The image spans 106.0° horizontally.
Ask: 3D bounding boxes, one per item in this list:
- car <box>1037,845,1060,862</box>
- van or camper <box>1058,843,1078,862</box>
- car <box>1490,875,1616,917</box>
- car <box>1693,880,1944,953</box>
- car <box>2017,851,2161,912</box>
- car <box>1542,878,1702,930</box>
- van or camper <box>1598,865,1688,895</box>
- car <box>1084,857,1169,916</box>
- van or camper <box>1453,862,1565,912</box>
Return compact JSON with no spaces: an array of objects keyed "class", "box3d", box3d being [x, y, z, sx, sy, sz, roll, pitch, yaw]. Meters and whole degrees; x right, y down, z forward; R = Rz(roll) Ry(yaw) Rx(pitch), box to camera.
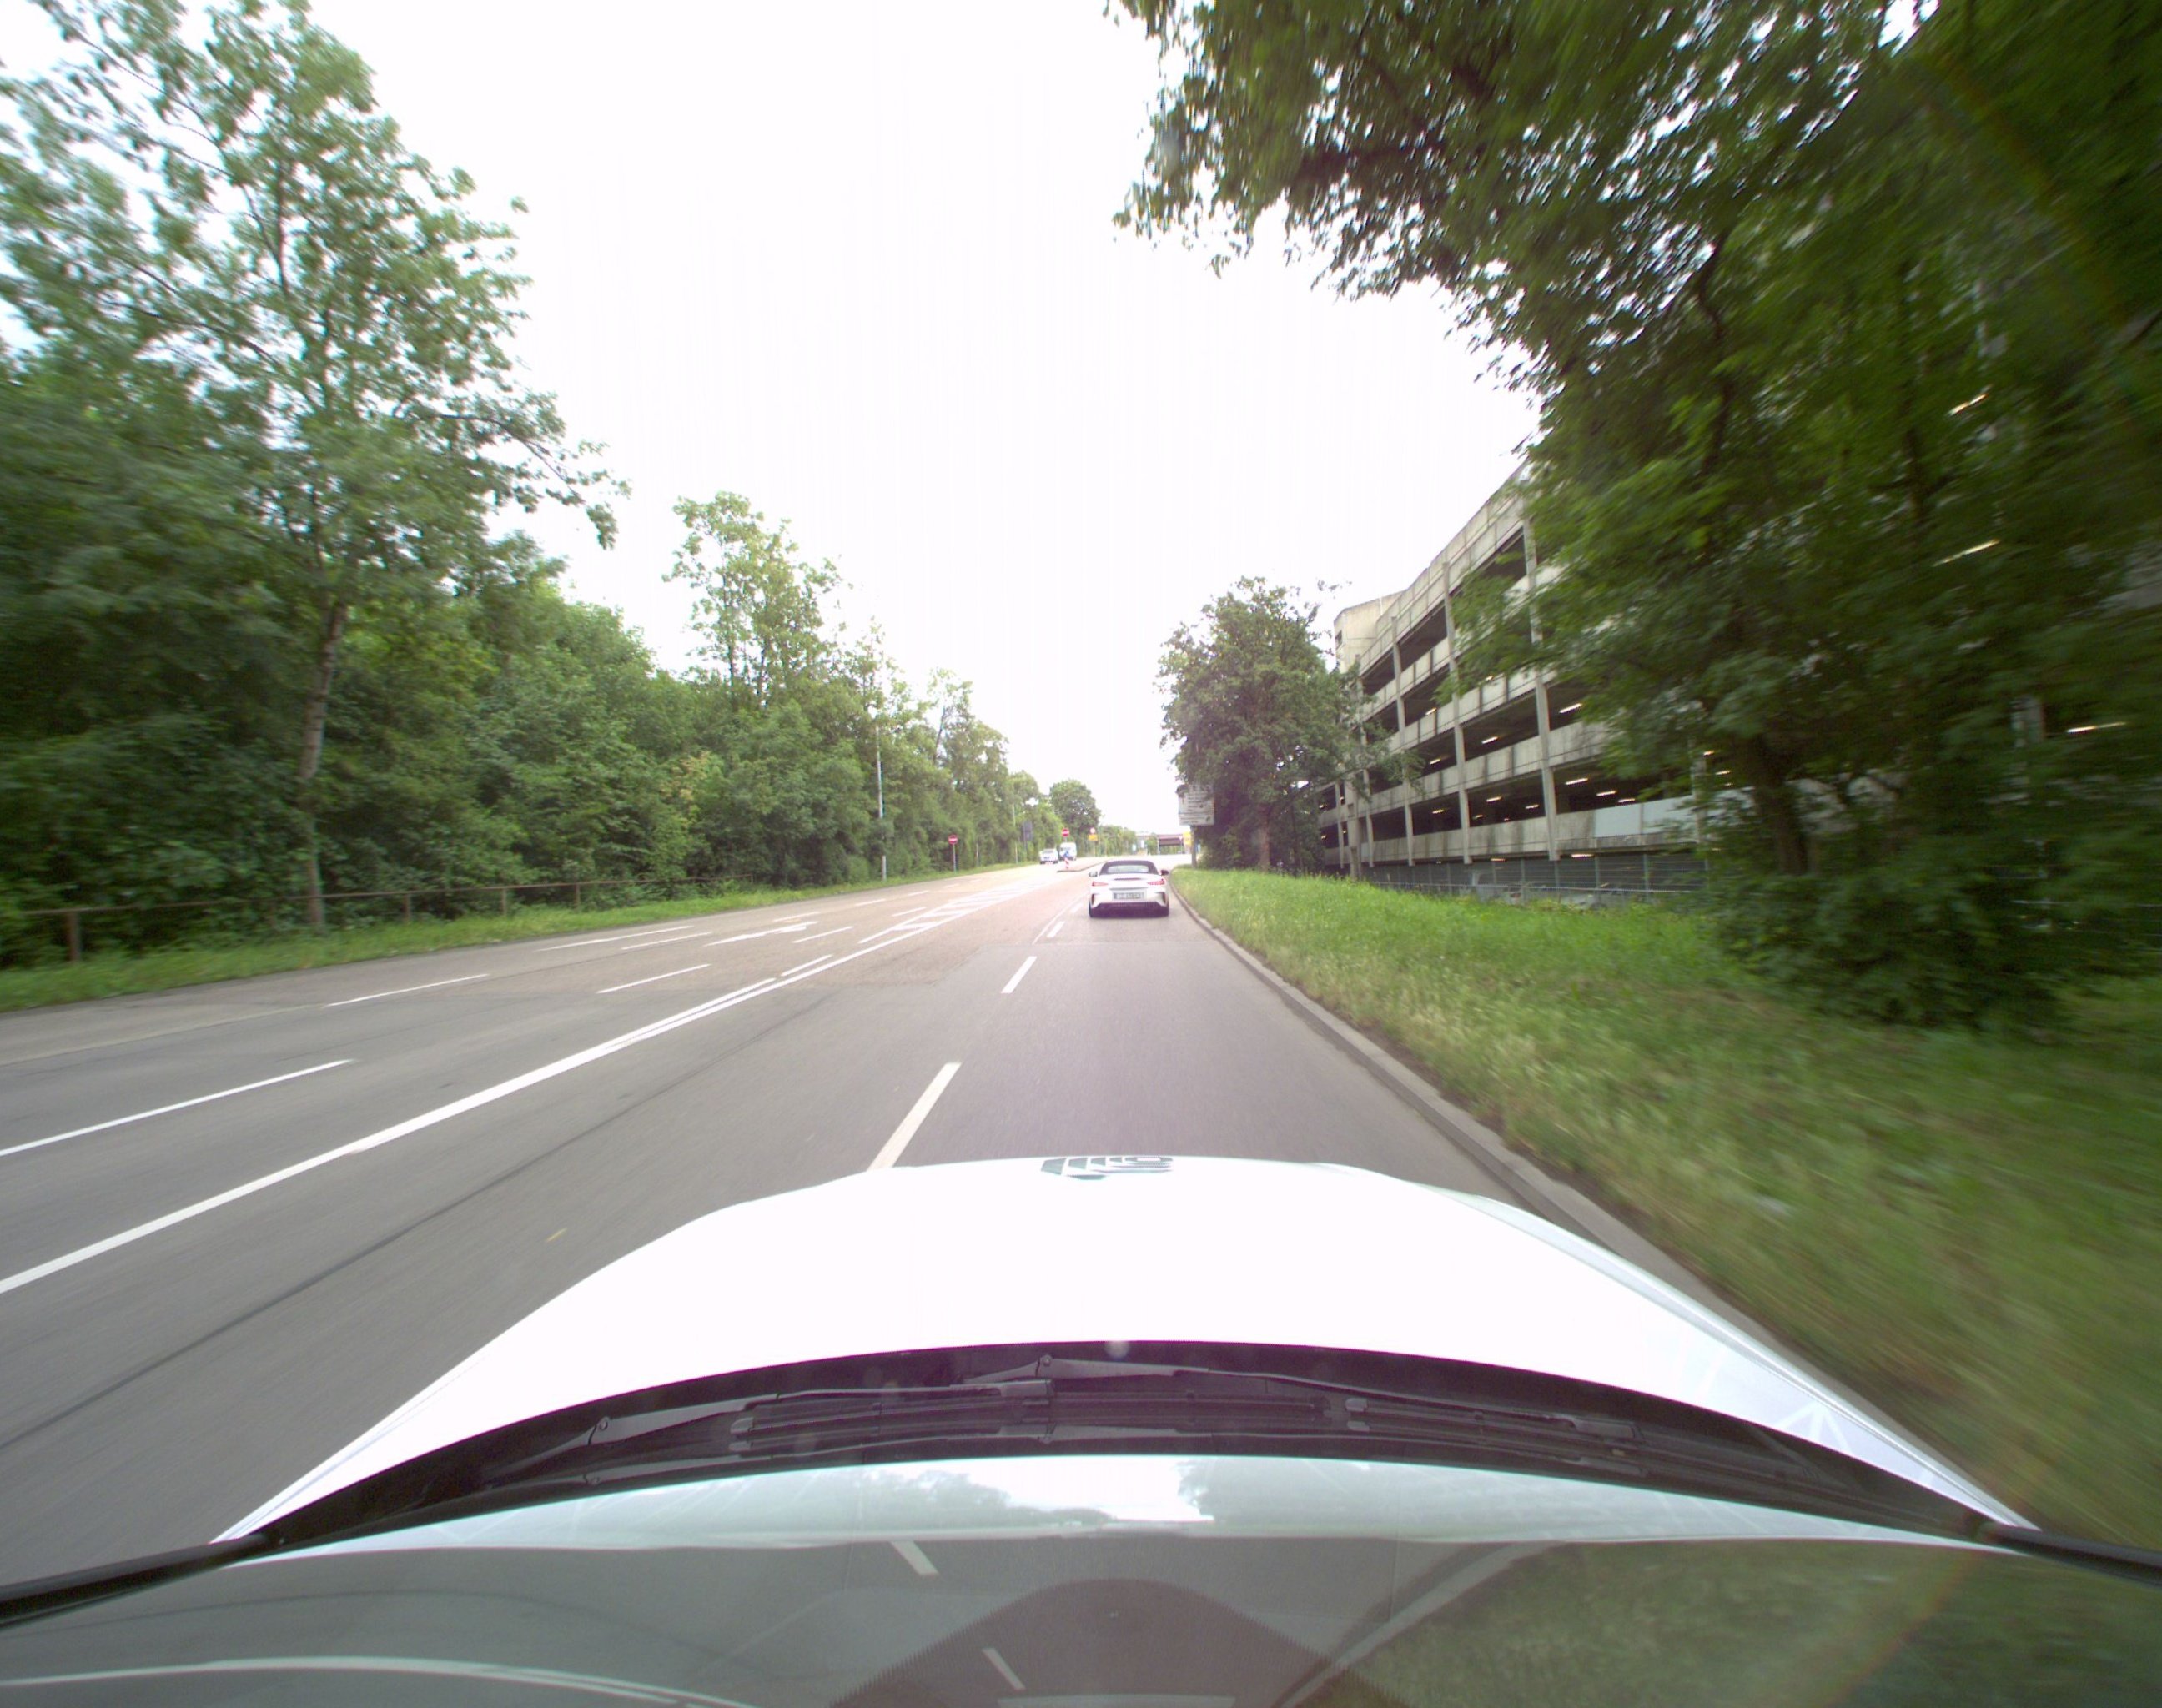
[{"class":"car","box3d":[-3.780,-0.025,95.990,1.803,1.830,4.394,-3,1,9]},{"class":"van or camper","box3d":[-1.902,-0.210,119.040,2.272,2.555,6.866,-1,-1,4]},{"class":"car","box3d":[19.313,1.703,33.481,3.989,1.436,1.950,-3,-2,2]},{"class":"car","box3d":[18.975,1.587,21.138,4.571,1.506,1.949,-4,-1,3]},{"class":"car","box3d":[29.240,0.745,22.961,3.649,1.441,1.674,-4,-1,1]},{"class":"car","box3d":[18.915,1.738,28.627,4.238,1.506,1.950,-4,-2,2]},{"class":"van or camper","box3d":[31.241,1.427,45.323,3.696,1.409,1.729,-4,-2,4]},{"class":"car","box3d":[1.131,0.740,20.066,1.867,1.309,3.876,0,0,3]},{"class":"van or camper","box3d":[19.288,1.486,36.842,3.990,1.954,1.841,-3,-2,2]}]
